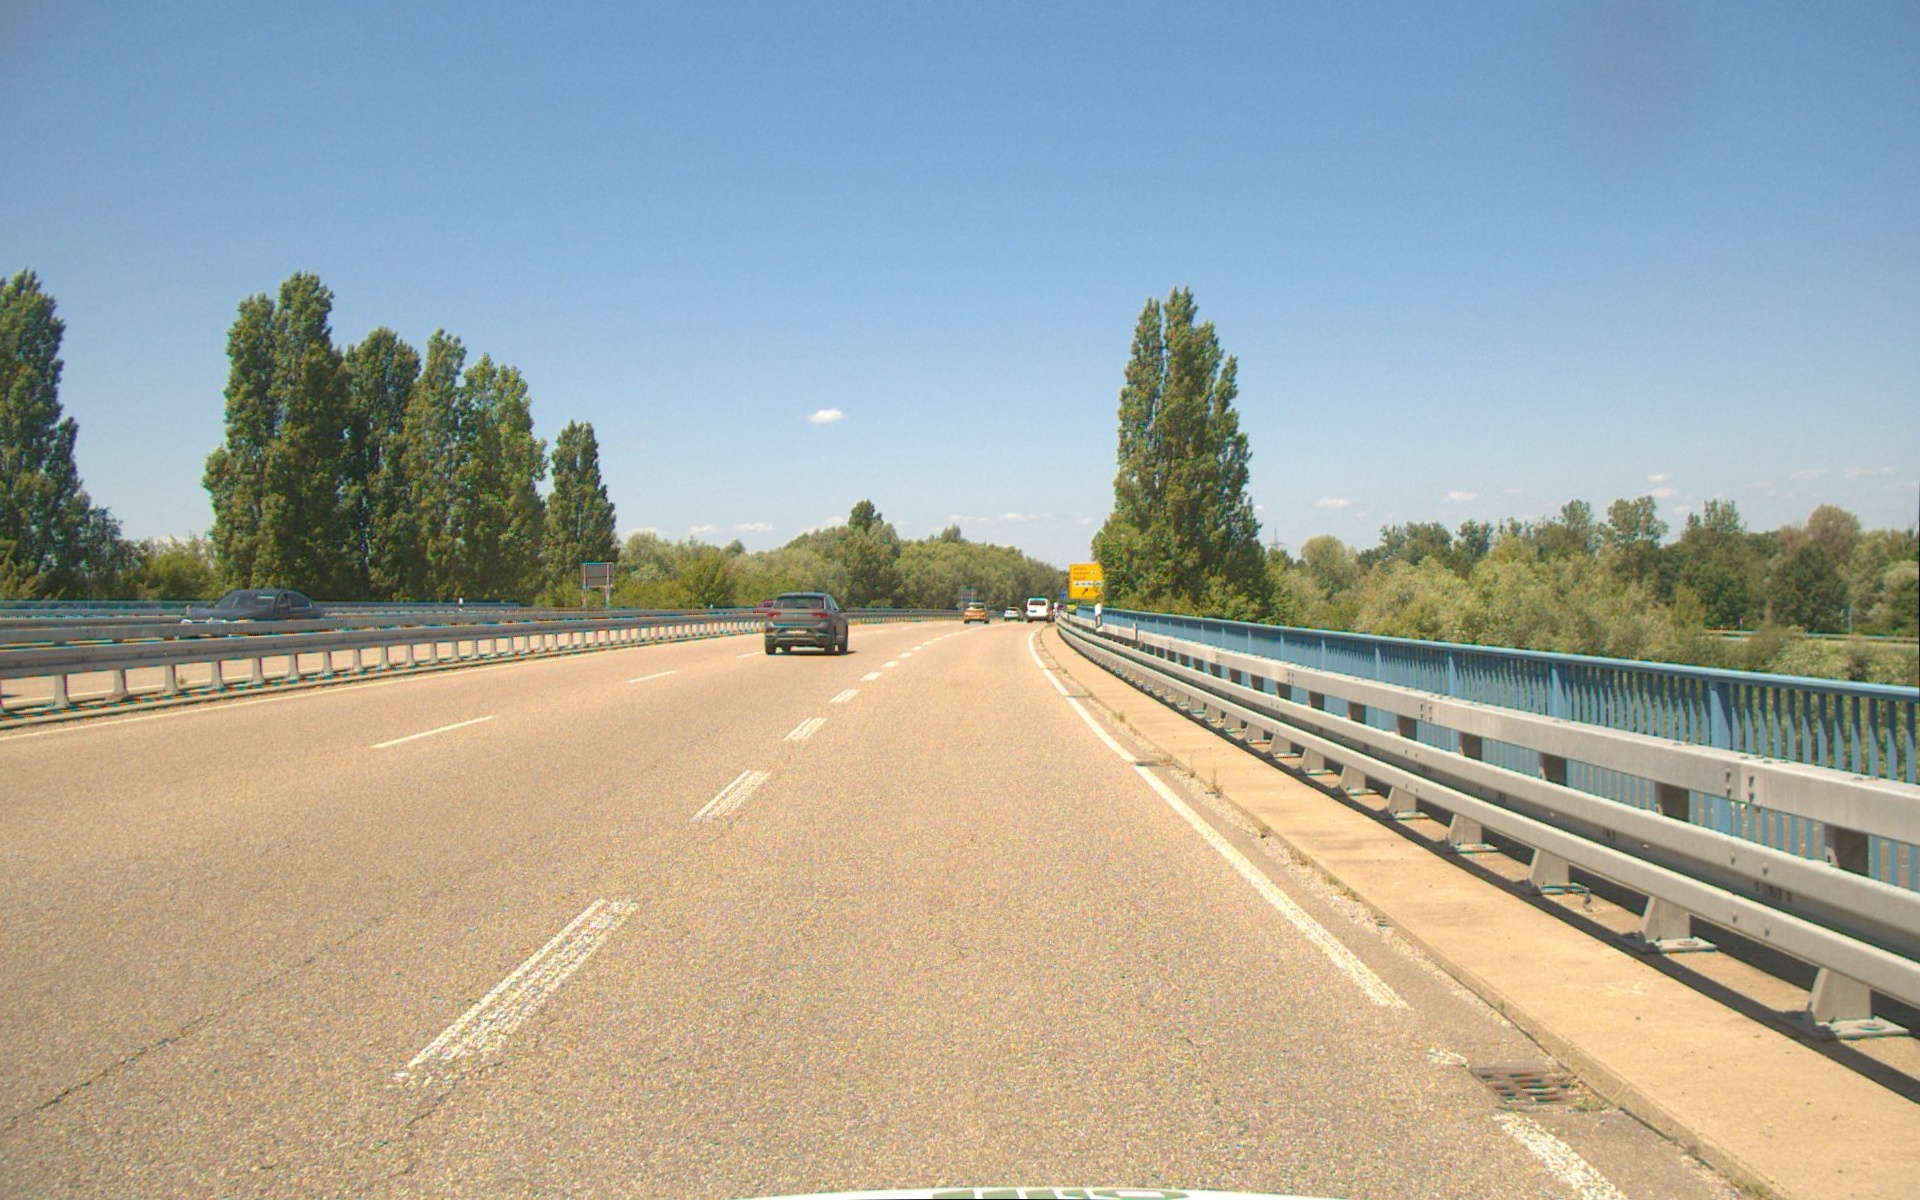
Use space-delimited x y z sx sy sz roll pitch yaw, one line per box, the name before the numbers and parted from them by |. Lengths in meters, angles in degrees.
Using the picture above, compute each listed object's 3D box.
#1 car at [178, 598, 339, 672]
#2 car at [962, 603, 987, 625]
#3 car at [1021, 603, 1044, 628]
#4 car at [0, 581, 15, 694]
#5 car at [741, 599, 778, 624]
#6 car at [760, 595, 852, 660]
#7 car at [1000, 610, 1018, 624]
car | -17.144 0.844 40.693 1.805 1.697 5.050 -1 -1 0
car | 1.075 1.021 120.362 1.803 1.489 4.000 1 0 1
car | 6.000 1.267 135.881 1.803 1.928 4.002 1 0 3
car | -13.917 0.516 20.384 1.866 1.531 4.683 0 0 -1
car | -13.865 0.803 114.528 1.805 1.697 5.051 -1 -1 1
car | -3.934 0.678 42.846 1.803 1.556 4.471 1 0 2
car | 5.507 1.910 185.016 1.802 1.476 4.003 1 0 5
